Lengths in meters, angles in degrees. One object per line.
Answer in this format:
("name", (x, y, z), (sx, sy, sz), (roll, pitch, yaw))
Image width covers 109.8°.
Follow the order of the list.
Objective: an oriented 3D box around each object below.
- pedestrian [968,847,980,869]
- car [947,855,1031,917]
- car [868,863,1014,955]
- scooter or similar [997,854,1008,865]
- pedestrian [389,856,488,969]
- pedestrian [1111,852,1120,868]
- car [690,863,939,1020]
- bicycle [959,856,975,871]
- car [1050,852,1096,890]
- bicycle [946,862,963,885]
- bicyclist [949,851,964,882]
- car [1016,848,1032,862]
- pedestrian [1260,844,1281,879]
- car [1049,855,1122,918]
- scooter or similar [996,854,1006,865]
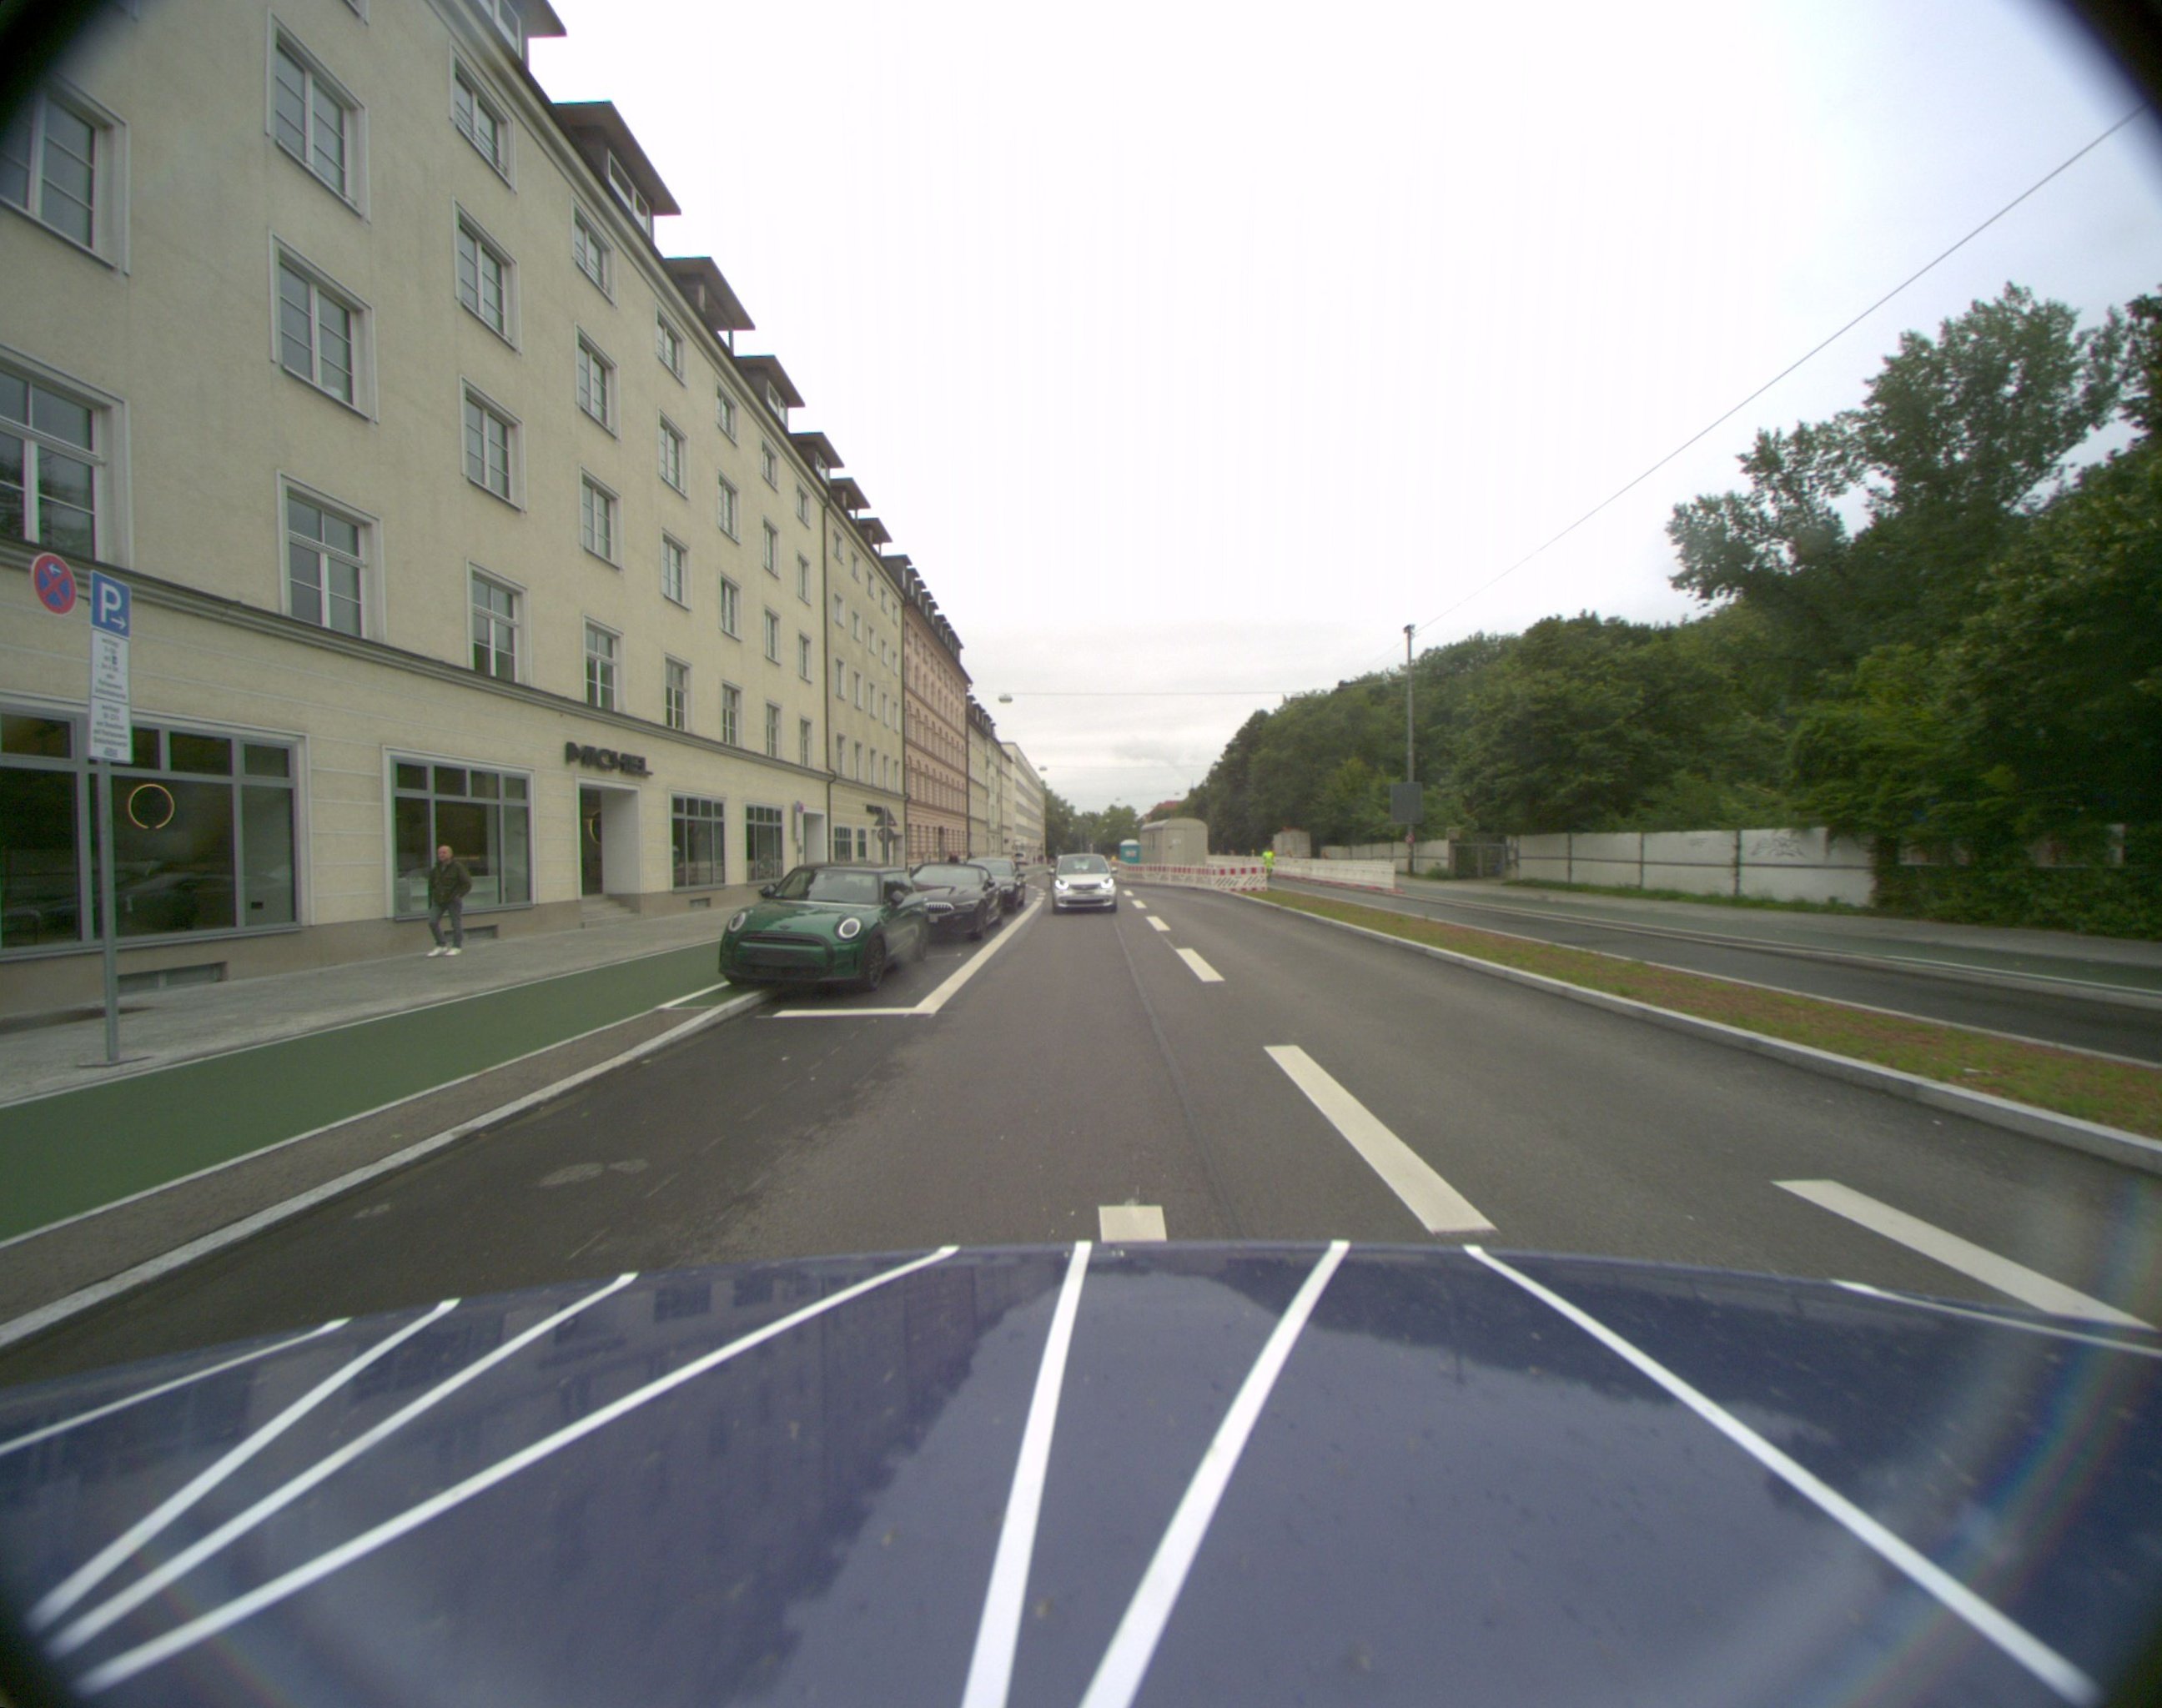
("pedestrian", (-8.571, 0.283, 60.980), (0.795, 1.735, 0.833), (-1, 1, 1))
("car", (-2.481, 0.817, 21.510), (1.813, 1.472, 4.461), (3, 0, -1))
("car", (-2.583, 0.967, 15.218), (1.830, 1.399, 4.720), (-2, 0, 2))
("scooter or similar", (-8.808, 0.587, 85.026), (1.078, 1.185, 0.453), (-1, 1, -29))
("pedestrian", (-9.976, 0.880, 11.832), (0.780, 1.679, 0.861), (0, 1, 2))
("pedestrian", (3.947, 0.686, 87.653), (0.860, 1.826, 0.874), (-1, 1, -6))
("car", (-3.116, 0.931, 9.777), (1.679, 1.512, 3.829), (-2, 0, 2))
("bicycle", (-9.240, 0.753, 61.689), (0.556, 1.170, 1.727), (0, 1, 15))
("car", (-0.274, 0.685, 33.351), (1.813, 1.472, 4.462), (-3, 0, 1))
("bicycle", (-5.953, 0.903, 35.906), (0.632, 1.031, 2.016), (-1, 0, -6))
("bicyclist", (-5.889, 0.579, 35.925), (0.632, 1.459, 0.652), (-1, 1, -6))
("car", (-7.650, 0.071, 102.679), (1.766, 1.821, 4.000), (-1, 1, 0))
("pedestrian", (10.477, 0.397, 42.078), (0.890, 1.930, 0.875), (-1, 1, -2))
("car", (0.073, 0.821, 21.047), (1.759, 1.461, 3.999), (-2, 0, -1))
("scooter or similar", (-9.058, 0.596, 86.365), (1.079, 1.185, 0.436), (-1, 1, -39))
